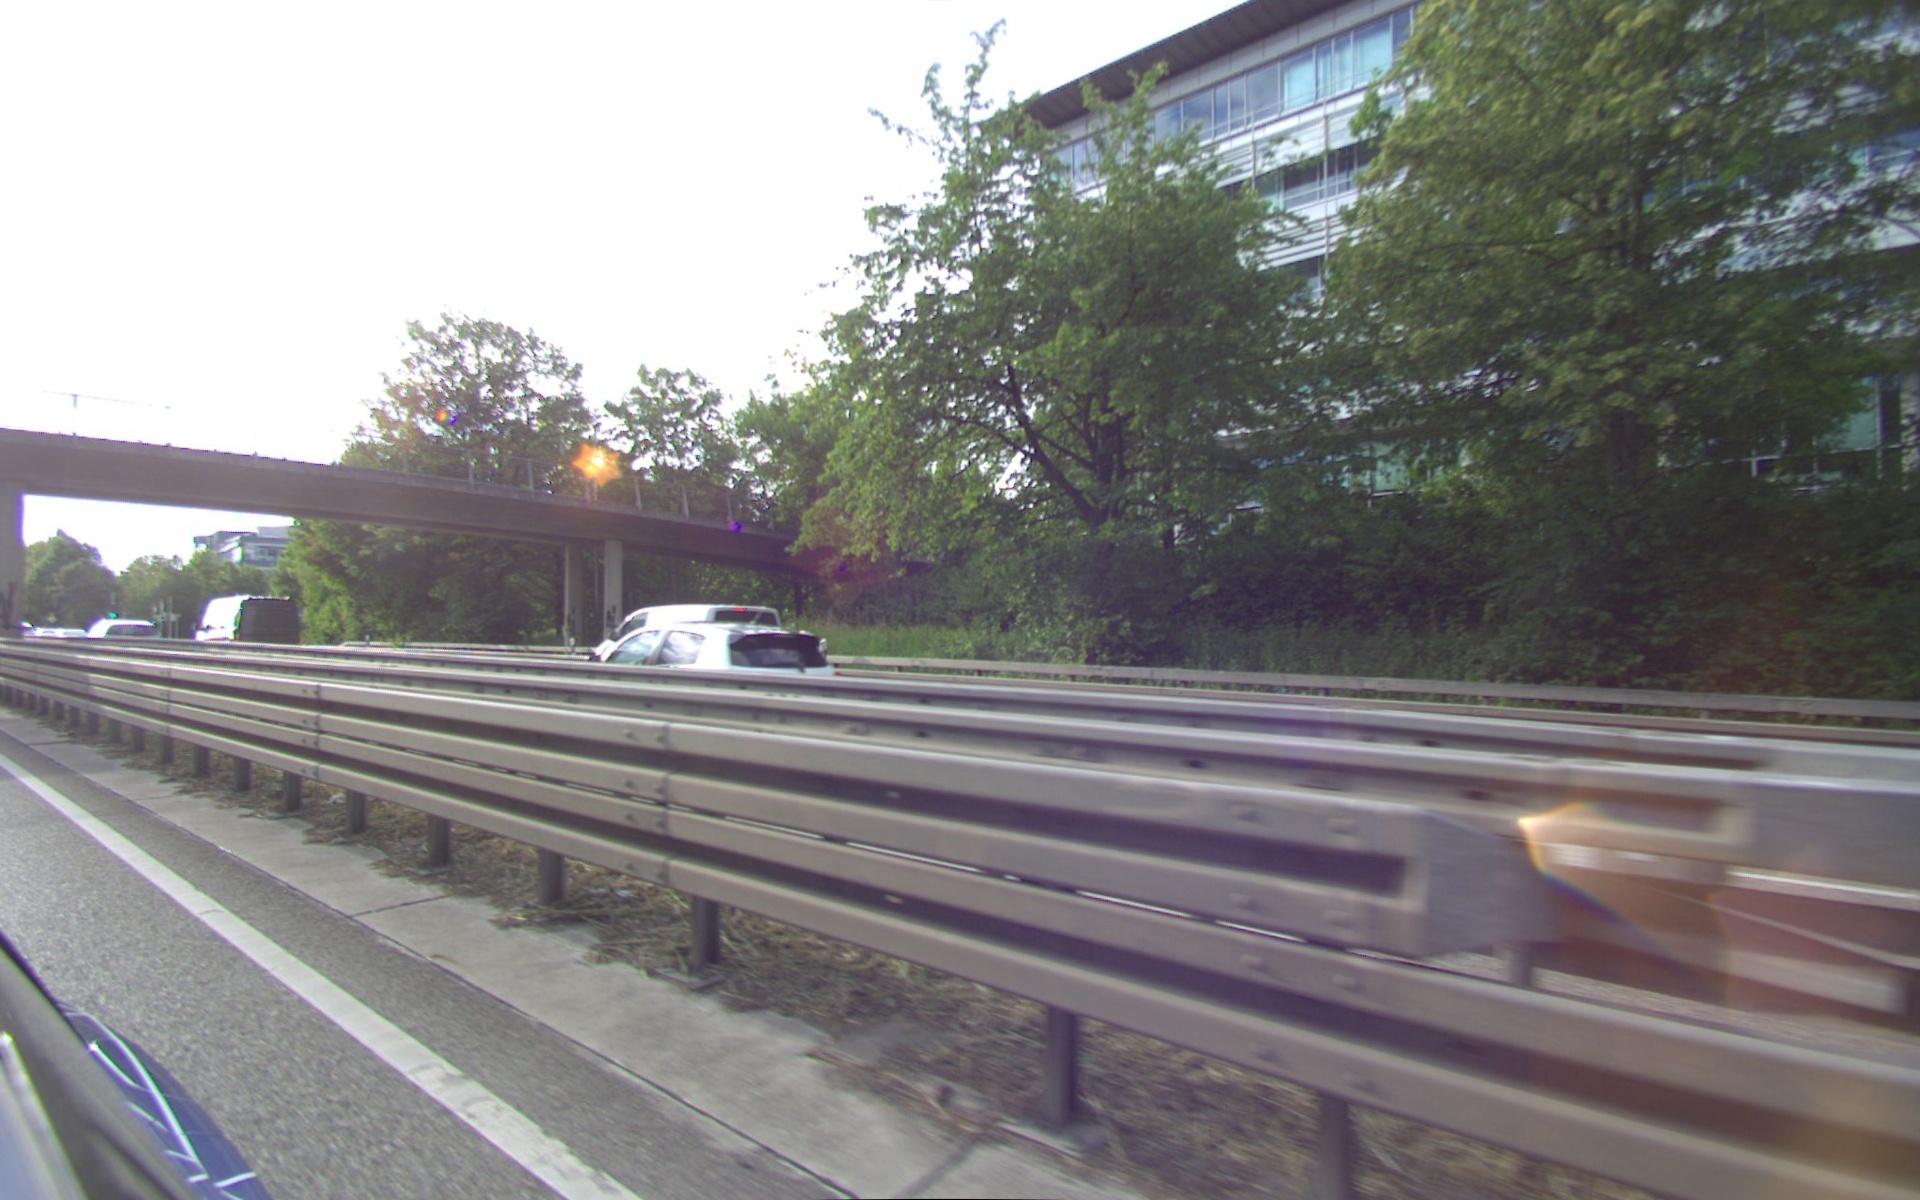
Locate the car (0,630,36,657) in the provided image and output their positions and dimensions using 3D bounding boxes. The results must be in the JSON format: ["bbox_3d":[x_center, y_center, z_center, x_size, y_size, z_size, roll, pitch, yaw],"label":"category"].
[{"bbox_3d":[-56.737,2.567,60.473,4.789,1.596,1.803,-1,-2,42],"label":"car"}]

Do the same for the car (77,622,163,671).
[{"bbox_3d":[-27.622,1.498,33.261,3.638,1.540,1.589,-2,-2,41],"label":"car"}]

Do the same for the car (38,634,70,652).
[{"bbox_3d":[-71.605,3.373,79.981,3.307,1.364,1.415,-2,-3,40],"label":"car"}]

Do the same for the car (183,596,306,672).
[{"bbox_3d":[-26.417,1.216,37.235,6.938,2.556,2.226,-2,-2,42],"label":"car"}]

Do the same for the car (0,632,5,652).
[{"bbox_3d":[-71.278,3.055,74.071,3.733,1.478,1.700,-1,-2,42],"label":"car"}]

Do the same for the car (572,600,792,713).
[{"bbox_3d":[-5.315,0.990,19.026,4.622,1.869,1.847,-2,-2,43],"label":"car"}]

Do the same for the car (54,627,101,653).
[{"bbox_3d":[-58.616,2.648,67.211,4.397,1.548,1.814,-2,-6,43],"label":"car"}]

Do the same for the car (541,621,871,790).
[{"bbox_3d":[-2.803,0.982,10.798,3.644,1.497,1.664,-2,-2,42],"label":"car"}]
